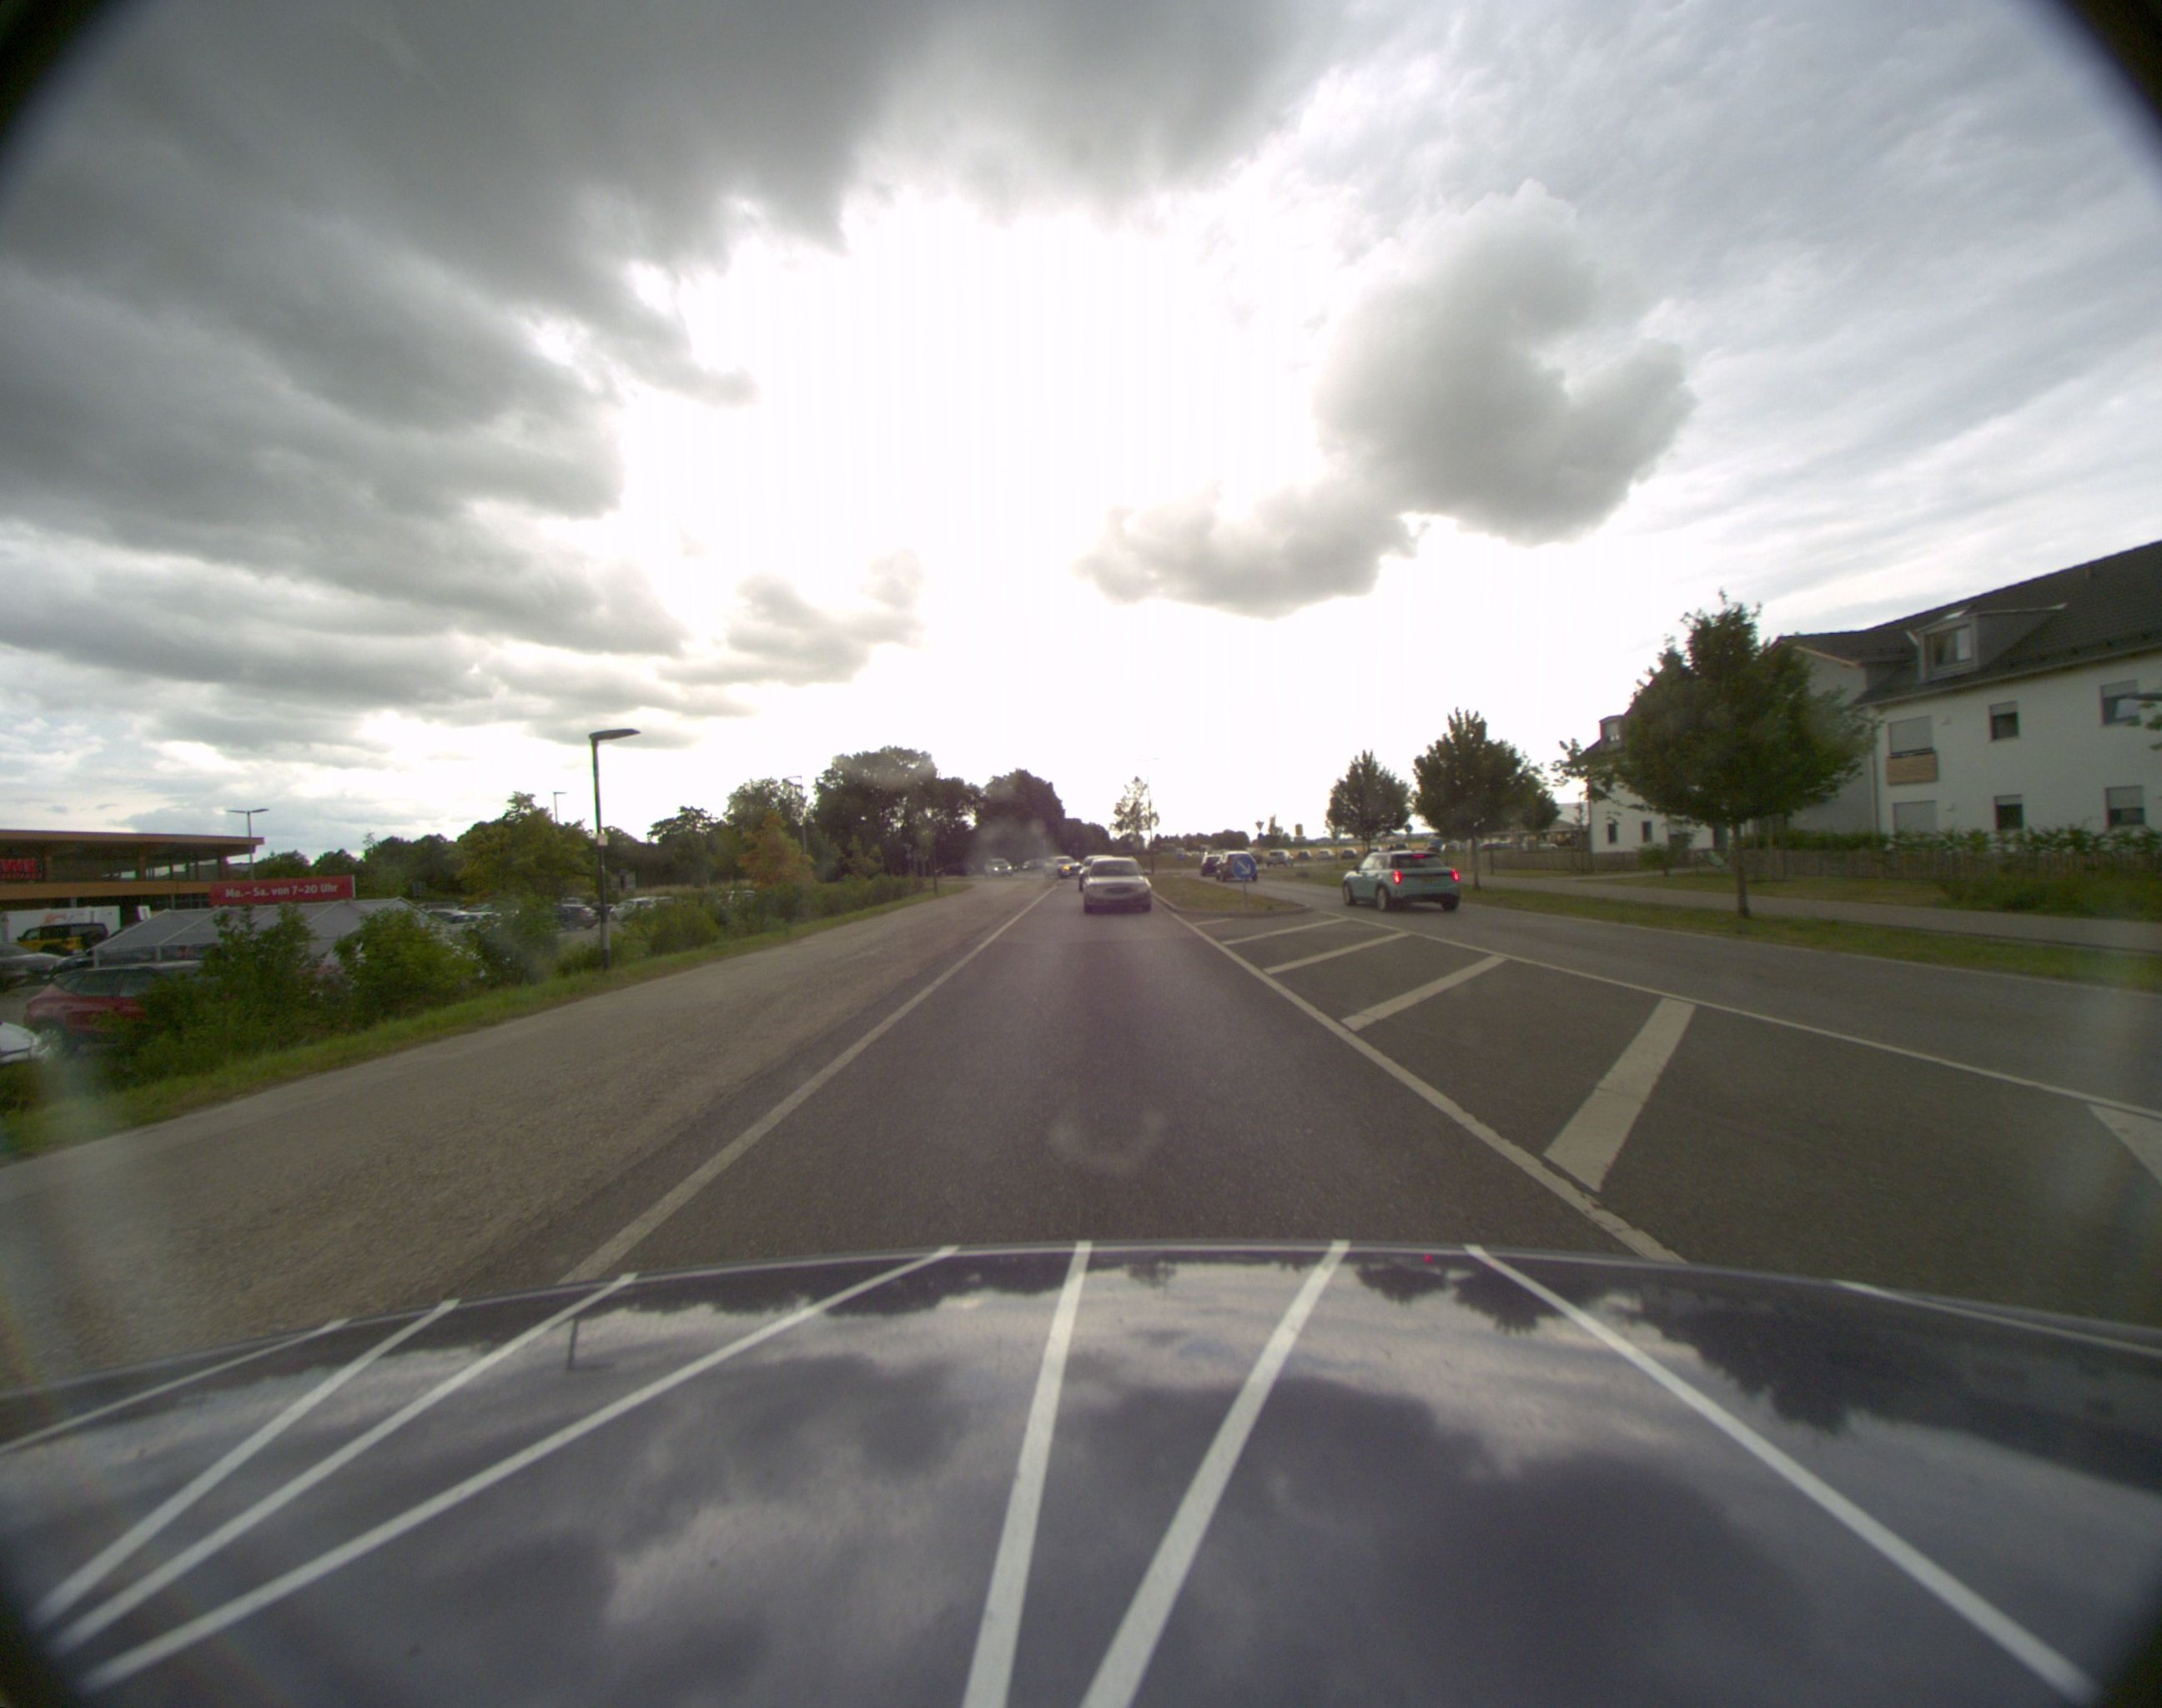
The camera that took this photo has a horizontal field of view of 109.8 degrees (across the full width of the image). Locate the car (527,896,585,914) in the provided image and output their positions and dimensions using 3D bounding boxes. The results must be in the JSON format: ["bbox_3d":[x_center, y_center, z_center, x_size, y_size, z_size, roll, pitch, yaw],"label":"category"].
[{"bbox_3d":[-48.792,4.698,70.685,1.697,1.352,4.007,-1,0,28],"label":"car"}]

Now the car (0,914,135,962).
[{"bbox_3d":[-48.119,3.970,36.125,3.995,2.002,2.001,-1,0,5],"label":"car"}]

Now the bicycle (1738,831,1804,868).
[{"bbox_3d":[27.097,-0.166,29.886,0.684,1.409,2.094,-1,0,1],"label":"bicycle"}]

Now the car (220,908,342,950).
[{"bbox_3d":[-40.306,3.745,38.335,4.269,1.860,2.001,-1,0,5],"label":"car"}]

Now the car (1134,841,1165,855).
[{"bbox_3d":[8.883,-0.811,98.291,1.994,1.674,4.008,-1,0,38],"label":"car"}]

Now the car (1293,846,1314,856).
[{"bbox_3d":[30.149,-0.367,102.955,1.995,1.280,4.007,-1,0,26],"label":"car"}]

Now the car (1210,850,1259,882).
[{"bbox_3d":[8.145,0.595,40.577,1.830,1.573,4.216,-1,0,1],"label":"car"}]

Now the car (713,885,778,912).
[{"bbox_3d":[-24.863,3.288,56.476,1.697,1.707,4.250,-1,0,28],"label":"car"}]

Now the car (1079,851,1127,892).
[{"bbox_3d":[1.055,0.720,34.007,1.869,1.578,5.063,-3,1,3],"label":"car"}]

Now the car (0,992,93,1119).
[{"bbox_3d":[-16.577,2.840,10.266,4.157,1.529,1.676,-1,0,-1],"label":"car"}]

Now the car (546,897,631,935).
[{"bbox_3d":[-27.291,3.428,42.165,3.390,1.696,1.802,-5,0,0],"label":"car"}]

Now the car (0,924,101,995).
[{"bbox_3d":[-34.841,3.394,24.551,3.995,2.002,2.001,-1,0,5],"label":"car"}]

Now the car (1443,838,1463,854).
[{"bbox_3d":[47.467,-1.050,96.877,1.995,2.002,4.007,-1,0,29],"label":"car"}]

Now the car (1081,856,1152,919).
[{"bbox_3d":[1.022,0.834,20.931,1.700,1.458,4.001,-2,1,4],"label":"car"}]

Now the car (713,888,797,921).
[{"bbox_3d":[-18.408,2.829,43.062,3.997,1.696,1.657,-1,0,0],"label":"car"}]

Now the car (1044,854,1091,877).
[{"bbox_3d":[-1.031,0.852,57.477,2.003,1.674,3.992,-1,0,-26],"label":"car"}]

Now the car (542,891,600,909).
[{"bbox_3d":[-46.162,4.142,68.846,1.697,1.352,4.007,-1,0,28],"label":"car"}]

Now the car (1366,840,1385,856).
[{"bbox_3d":[38.190,-0.775,98.585,1.995,2.002,4.007,-1,0,26],"label":"car"}]

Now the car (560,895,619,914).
[{"bbox_3d":[-43.297,4.446,67.045,1.697,1.352,4.007,-1,0,28],"label":"car"}]

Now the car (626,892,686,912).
[{"bbox_3d":[-35.114,3.932,62.906,1.697,1.352,4.007,-1,0,28],"label":"car"}]

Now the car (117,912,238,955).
[{"bbox_3d":[-46.876,4.102,39.477,3.995,2.002,2.072,-1,0,5],"label":"car"}]

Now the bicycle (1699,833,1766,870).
[{"bbox_3d":[25.898,-0.108,30.271,0.684,1.404,2.344,-1,0,1],"label":"bicycle"}]

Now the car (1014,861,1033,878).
[{"bbox_3d":[-6.409,1.682,84.182,2.000,1.827,3.998,-1,0,-6],"label":"car"}]

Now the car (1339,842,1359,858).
[{"bbox_3d":[35.459,-0.496,100.446,1.995,2.002,4.007,-1,0,26],"label":"car"}]

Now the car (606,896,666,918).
[{"bbox_3d":[-31.129,3.680,53.143,3.989,1.352,1.848,-1,0,30],"label":"car"}]

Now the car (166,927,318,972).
[{"bbox_3d":[-33.780,3.825,30.667,4.127,1.543,2.001,-1,0,5],"label":"car"}]

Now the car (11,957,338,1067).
[{"bbox_3d":[-16.069,2.774,13.629,3.766,1.529,1.676,-1,0,-1],"label":"car"}]

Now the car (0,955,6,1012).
[{"bbox_3d":[-29.618,3.415,18.494,3.997,1.433,2.000,-3,0,0],"label":"car"}]

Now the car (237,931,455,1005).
[{"bbox_3d":[-18.411,2.838,19.160,3.766,1.529,1.676,-1,0,-1],"label":"car"}]

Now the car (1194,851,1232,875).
[{"bbox_3d":[8.763,0.586,50.829,1.830,1.480,4.350,-1,0,1],"label":"car"}]

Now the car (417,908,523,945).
[{"bbox_3d":[-29.039,3.437,36.170,3.558,1.524,1.753,-1,0,0],"label":"car"}]

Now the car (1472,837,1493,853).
[{"bbox_3d":[49.952,-1.112,94.569,2.227,2.002,4.007,-1,0,29],"label":"car"}]

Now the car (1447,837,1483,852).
[{"bbox_3d":[52.976,-1.298,104.799,4.000,2.002,1.999,-1,0,-8],"label":"car"}]

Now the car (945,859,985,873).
[{"bbox_3d":[-12.570,1.288,82.117,4.004,1.412,1.713,-1,0,-21],"label":"car"}]

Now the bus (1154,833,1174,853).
[{"bbox_3d":[14.419,-1.883,132.415,2.990,3.261,6.703,-1,0,3],"label":"bus"}]

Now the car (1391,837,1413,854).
[{"bbox_3d":[40.949,-1.061,97.007,1.996,2.002,4.005,-1,0,16],"label":"car"}]

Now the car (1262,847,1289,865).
[{"bbox_3d":[17.146,0.147,67.069,1.829,1.480,4.218,-1,0,7],"label":"car"}]

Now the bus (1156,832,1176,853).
[{"bbox_3d":[14.044,-1.836,125.807,2.990,3.261,6.486,-1,0,3],"label":"bus"}]

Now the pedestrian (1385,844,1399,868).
[{"bbox_3d":[20.760,0.136,50.734,0.547,1.521,0.586,-4,0,1],"label":"pedestrian"}]

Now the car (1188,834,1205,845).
[{"bbox_3d":[16.478,-2.110,108.320,1.774,1.435,4.000,-1,0,1],"label":"car"}]

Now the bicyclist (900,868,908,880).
[{"bbox_3d":[-19.457,2.193,83.677,0.657,1.236,0.556,-1,1,41],"label":"bicyclist"}]

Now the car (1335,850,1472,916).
[{"bbox_3d":[7.910,0.650,19.054,1.774,1.435,4.000,-1,0,1],"label":"car"}]

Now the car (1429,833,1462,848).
[{"bbox_3d":[53.918,-2.018,112.314,4.001,2.002,1.998,-1,0,-11],"label":"car"}]

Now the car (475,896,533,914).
[{"bbox_3d":[-54.361,4.779,71.674,1.697,1.352,4.007,-1,0,28],"label":"car"}]

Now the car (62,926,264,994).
[{"bbox_3d":[-29.224,3.347,24.269,4.269,1.860,2.001,-1,0,5],"label":"car"}]

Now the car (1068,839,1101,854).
[{"bbox_3d":[0.497,-0.953,98.085,1.994,1.794,4.782,-1,0,33],"label":"car"}]

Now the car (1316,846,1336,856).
[{"bbox_3d":[32.785,-0.366,101.438,1.995,1.280,4.007,-1,0,26],"label":"car"}]

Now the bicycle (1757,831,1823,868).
[{"bbox_3d":[27.837,-0.166,29.881,0.684,1.420,2.094,-1,0,1],"label":"bicycle"}]

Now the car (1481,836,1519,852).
[{"bbox_3d":[55.472,-1.363,100.676,4.001,2.002,1.998,-1,0,-11],"label":"car"}]

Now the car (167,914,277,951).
[{"bbox_3d":[-48.009,4.365,42.524,3.995,1.837,2.072,-1,0,5],"label":"car"}]

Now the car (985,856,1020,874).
[{"bbox_3d":[-7.110,0.983,68.692,2.002,1.510,3.763,-1,0,-25],"label":"car"}]
